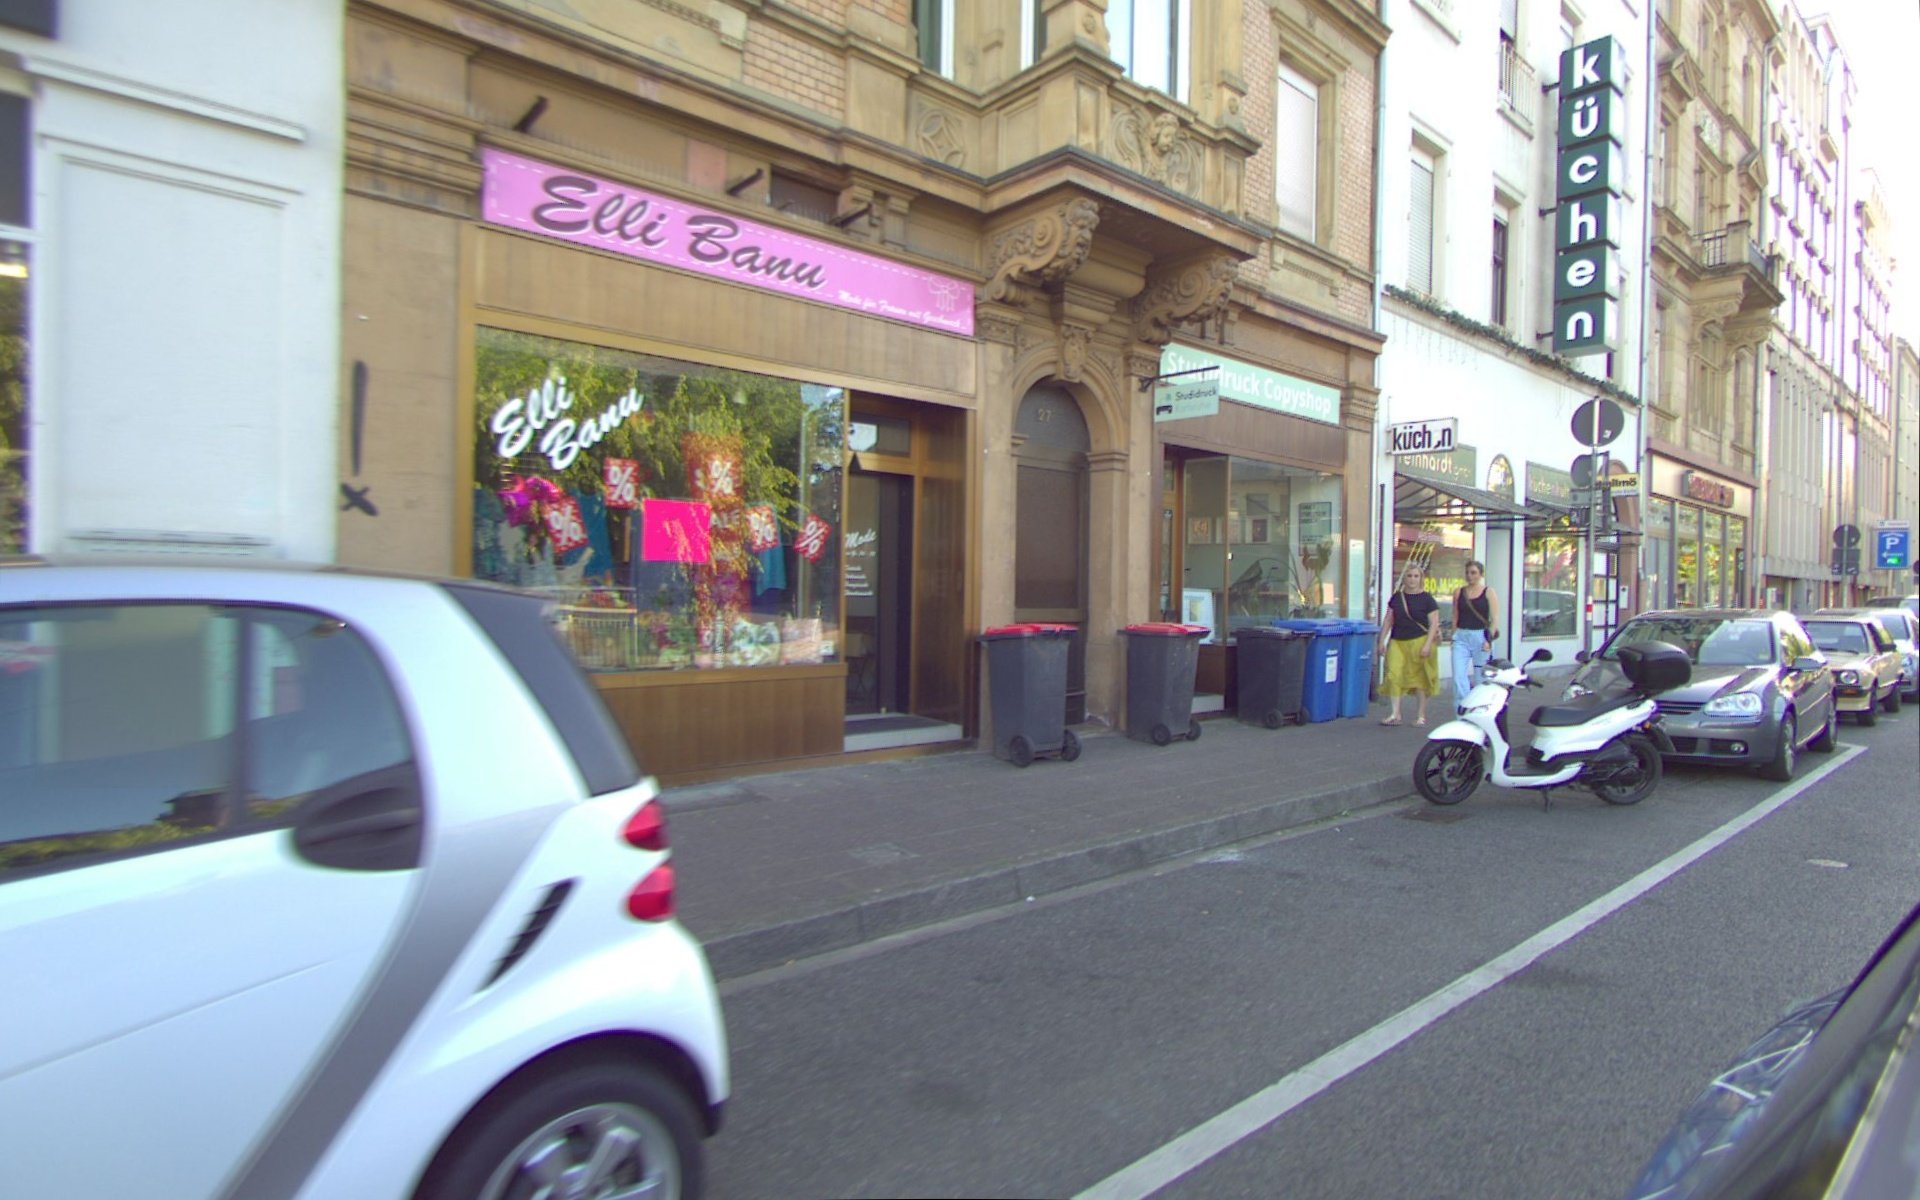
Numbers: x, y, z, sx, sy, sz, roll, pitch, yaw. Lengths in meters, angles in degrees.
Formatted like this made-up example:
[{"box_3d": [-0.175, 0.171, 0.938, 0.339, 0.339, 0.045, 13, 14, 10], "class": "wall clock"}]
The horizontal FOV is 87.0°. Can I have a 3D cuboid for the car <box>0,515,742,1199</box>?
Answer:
[{"box_3d": [-1.934, 0.642, 1.838, 2.746, 1.537, 1.274, 0, 0, -41], "class": "car"}]

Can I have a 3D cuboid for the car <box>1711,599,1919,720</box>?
[{"box_3d": [11.919, 0.705, 13.965, 3.735, 1.435, 1.736, 0, 0, -41], "class": "car"}]

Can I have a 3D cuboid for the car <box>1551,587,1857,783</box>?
[{"box_3d": [7.471, 0.660, 10.011, 4.095, 1.537, 1.735, 0, 0, -43], "class": "car"}]

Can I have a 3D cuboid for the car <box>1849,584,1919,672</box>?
[{"box_3d": [20.140, 0.546, 21.090, 3.978, 1.711, 1.894, 0, 0, -41], "class": "car"}]

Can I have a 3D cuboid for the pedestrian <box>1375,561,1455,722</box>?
[{"box_3d": [4.876, 0.427, 10.850, 0.616, 1.653, 0.456, 3, 2, 40], "class": "pedestrian"}]

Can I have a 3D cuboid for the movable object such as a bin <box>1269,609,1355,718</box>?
[{"box_3d": [3.793, 0.662, 10.925, 0.608, 1.086, 0.606, 1, 3, -40], "class": "movable object such as a bin"}]

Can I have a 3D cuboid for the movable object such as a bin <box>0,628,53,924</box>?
[{"box_3d": [-3.979, 0.680, 3.959, 0.608, 1.079, 0.606, 1, 3, -40], "class": "movable object such as a bin"}]

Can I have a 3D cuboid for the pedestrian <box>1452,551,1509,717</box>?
[{"box_3d": [5.326, 0.334, 10.352, 0.510, 1.653, 0.410, 0, 0, 29], "class": "pedestrian"}]

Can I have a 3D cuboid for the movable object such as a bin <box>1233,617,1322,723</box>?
[{"box_3d": [3.280, 0.706, 10.472, 0.608, 1.004, 0.606, 1, 3, -40], "class": "movable object such as a bin"}]

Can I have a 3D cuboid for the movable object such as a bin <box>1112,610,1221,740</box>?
[{"box_3d": [1.886, 0.659, 9.258, 0.608, 1.084, 0.716, 1, 3, -40], "class": "movable object such as a bin"}]

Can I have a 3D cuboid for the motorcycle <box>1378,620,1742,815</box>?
[{"box_3d": [4.346, 0.815, 7.507, 2.137, 1.296, 0.866, 0, 0, 8], "class": "motorcycle"}]

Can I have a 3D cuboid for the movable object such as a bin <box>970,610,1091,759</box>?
[{"box_3d": [0.559, 0.644, 8.118, 0.608, 1.084, 0.716, 1, 3, -40], "class": "movable object such as a bin"}]

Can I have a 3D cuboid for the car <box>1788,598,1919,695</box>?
[{"box_3d": [15.246, 0.694, 16.785, 3.735, 1.435, 1.736, 0, 0, -41], "class": "car"}]

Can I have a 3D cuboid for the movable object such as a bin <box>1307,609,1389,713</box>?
[{"box_3d": [4.362, 0.665, 11.381, 0.608, 1.086, 0.606, 1, 3, -40], "class": "movable object such as a bin"}]
